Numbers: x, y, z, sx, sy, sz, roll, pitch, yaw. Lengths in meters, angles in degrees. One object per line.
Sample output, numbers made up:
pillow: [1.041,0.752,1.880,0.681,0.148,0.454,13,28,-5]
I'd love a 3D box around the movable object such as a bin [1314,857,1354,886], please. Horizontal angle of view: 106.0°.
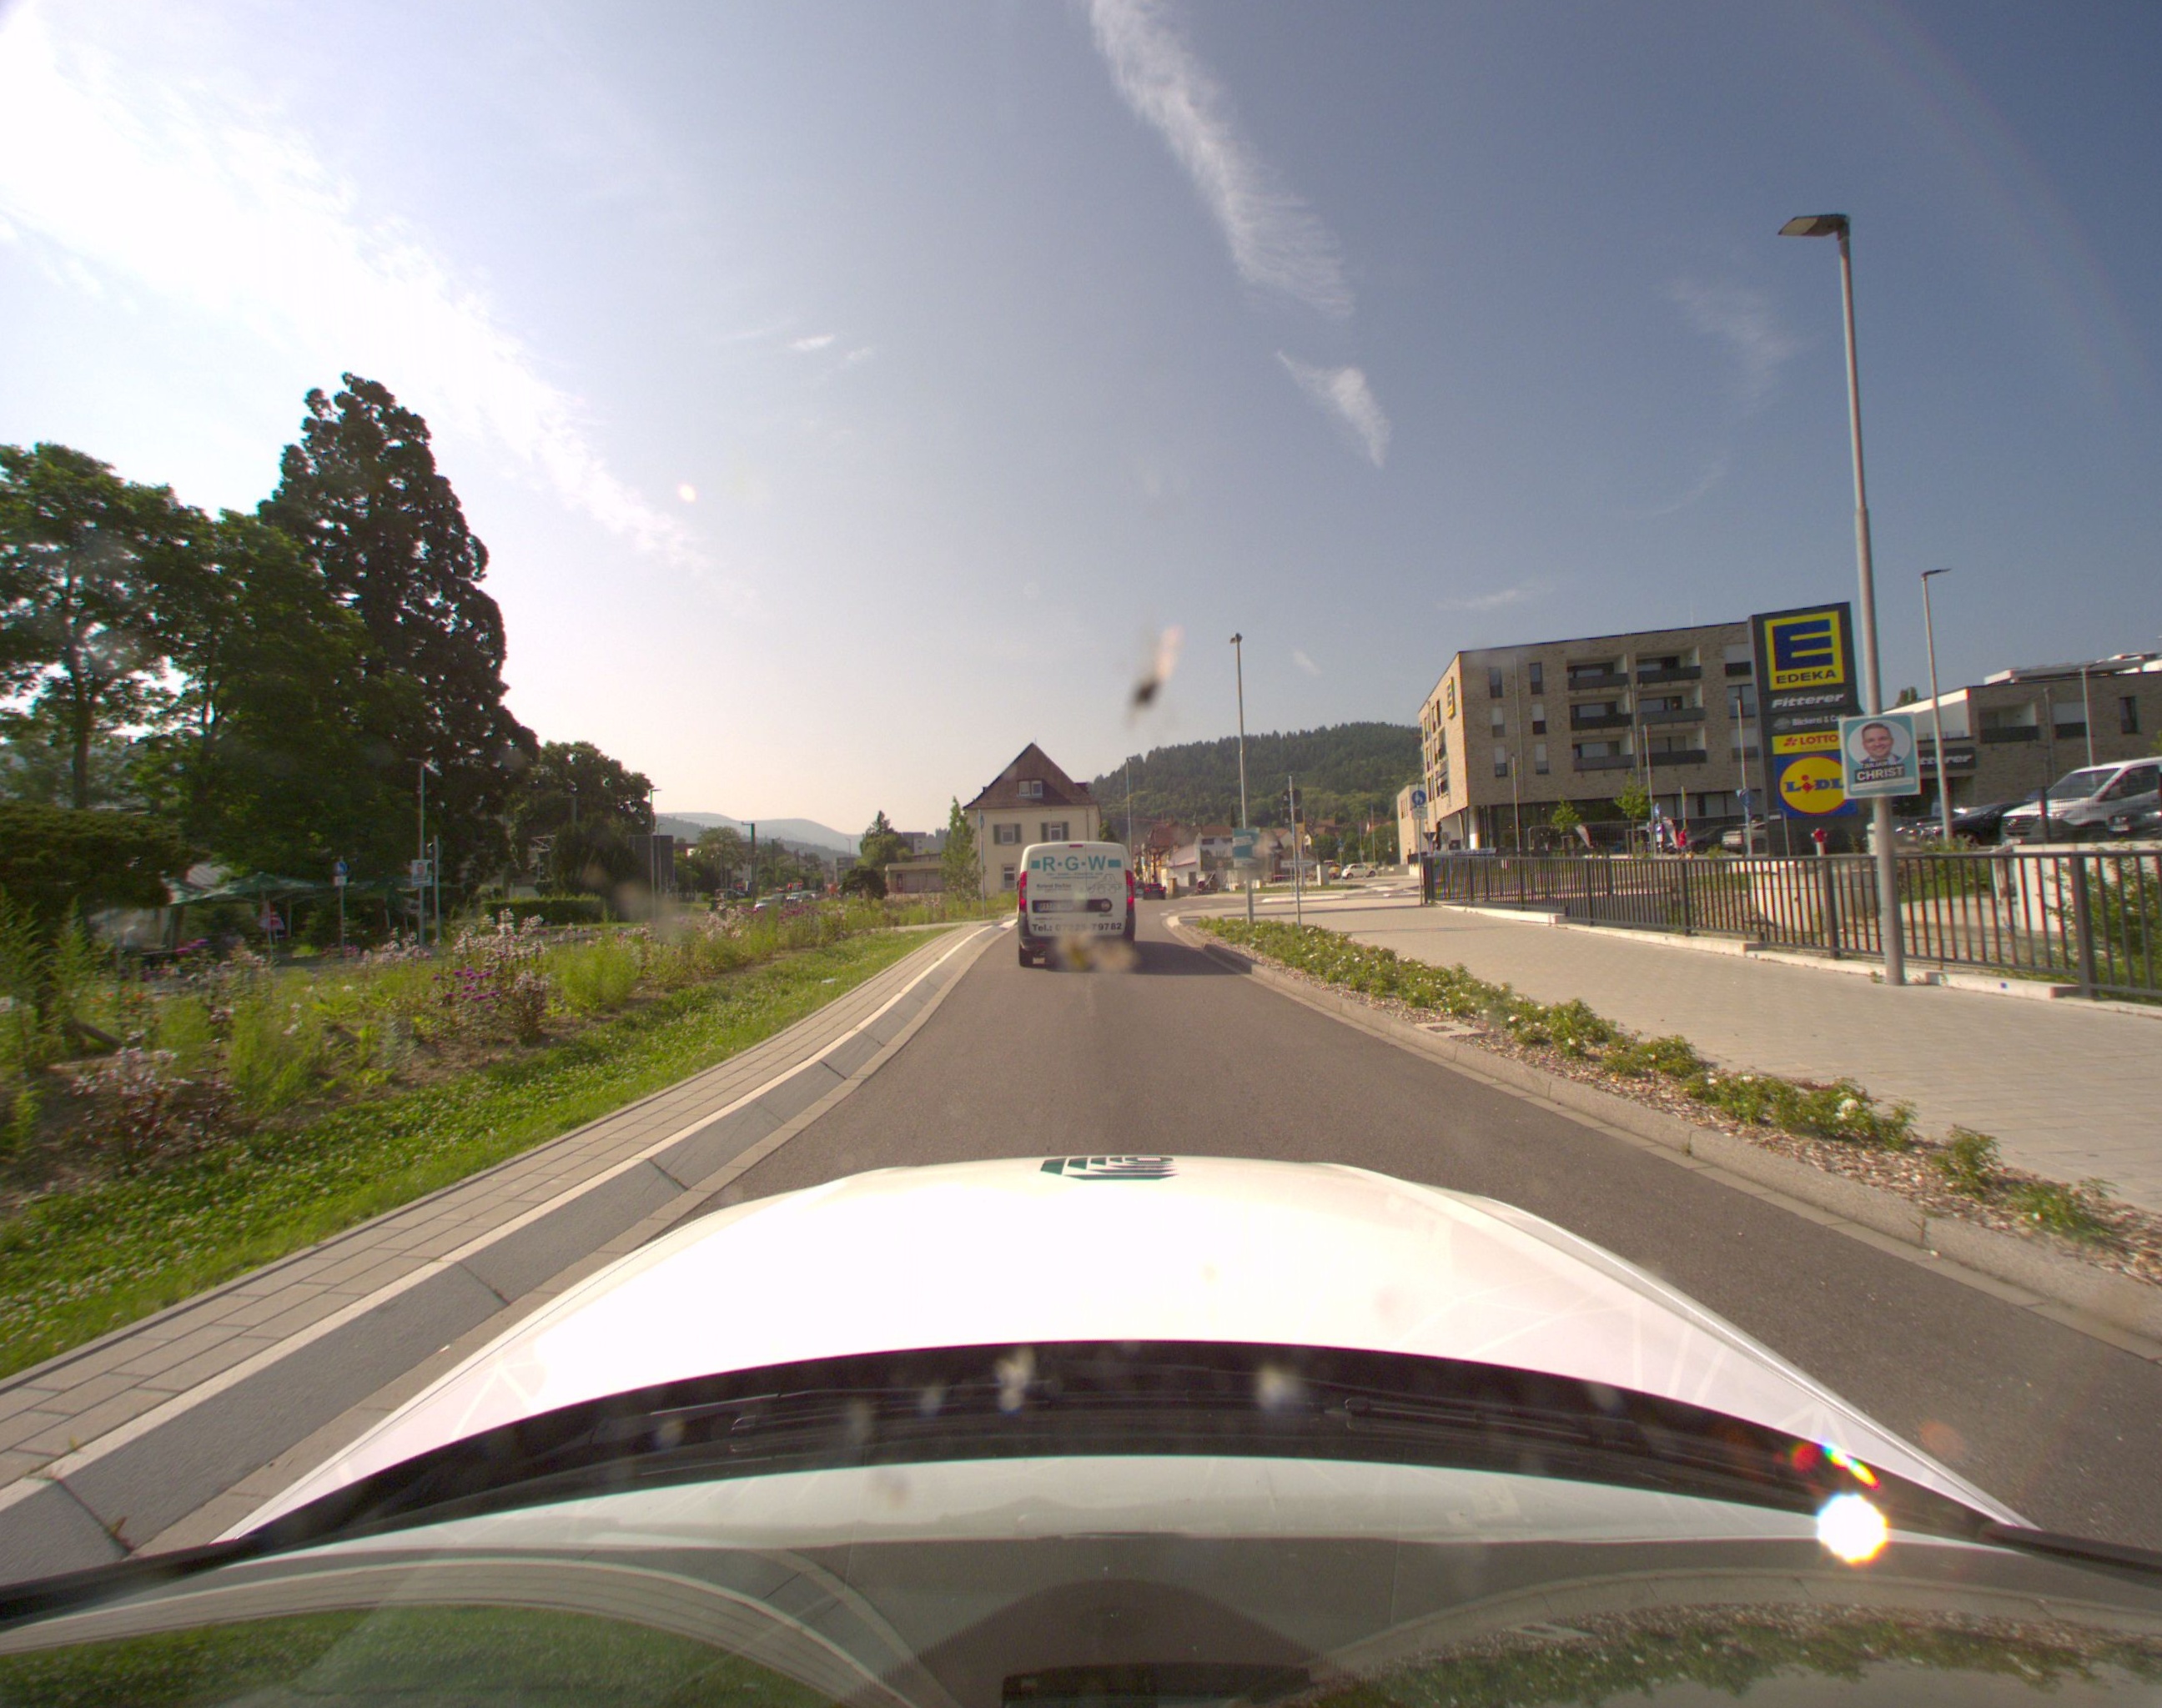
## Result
movable object such as a bin: [17.650,1.236,56.932,2.428,1.844,1.432,-4,-3,11]

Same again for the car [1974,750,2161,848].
car: [25.904,-1.382,20.531,3.951,2.136,2.011,-4,-3,23]

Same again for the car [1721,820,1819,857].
car: [35.408,-0.768,41.936,3.462,1.594,1.492,-4,-3,15]

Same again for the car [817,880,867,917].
car: [-14.817,2.718,50.681,1.804,2.014,3.999,-3,-1,0]

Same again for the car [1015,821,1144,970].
car: [-0.144,0.613,13.841,1.802,2.078,4.598,-1,-1,-3]

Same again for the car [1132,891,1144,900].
car: [6.537,4.730,92.992,1.300,1.003,3.093,-4,-2,3]

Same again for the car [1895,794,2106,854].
car: [28.577,-0.881,25.484,3.950,1.448,1.687,-5,-3,24]

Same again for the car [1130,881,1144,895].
car: [8.781,5.263,127.472,1.985,2.014,4.003,-4,-3,4]

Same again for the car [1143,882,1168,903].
car: [6.666,3.398,72.636,1.870,1.684,4.008,-4,-3,8]

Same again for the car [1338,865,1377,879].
car: [28.324,1.828,83.499,3.459,1.304,1.470,-3,-2,4]
